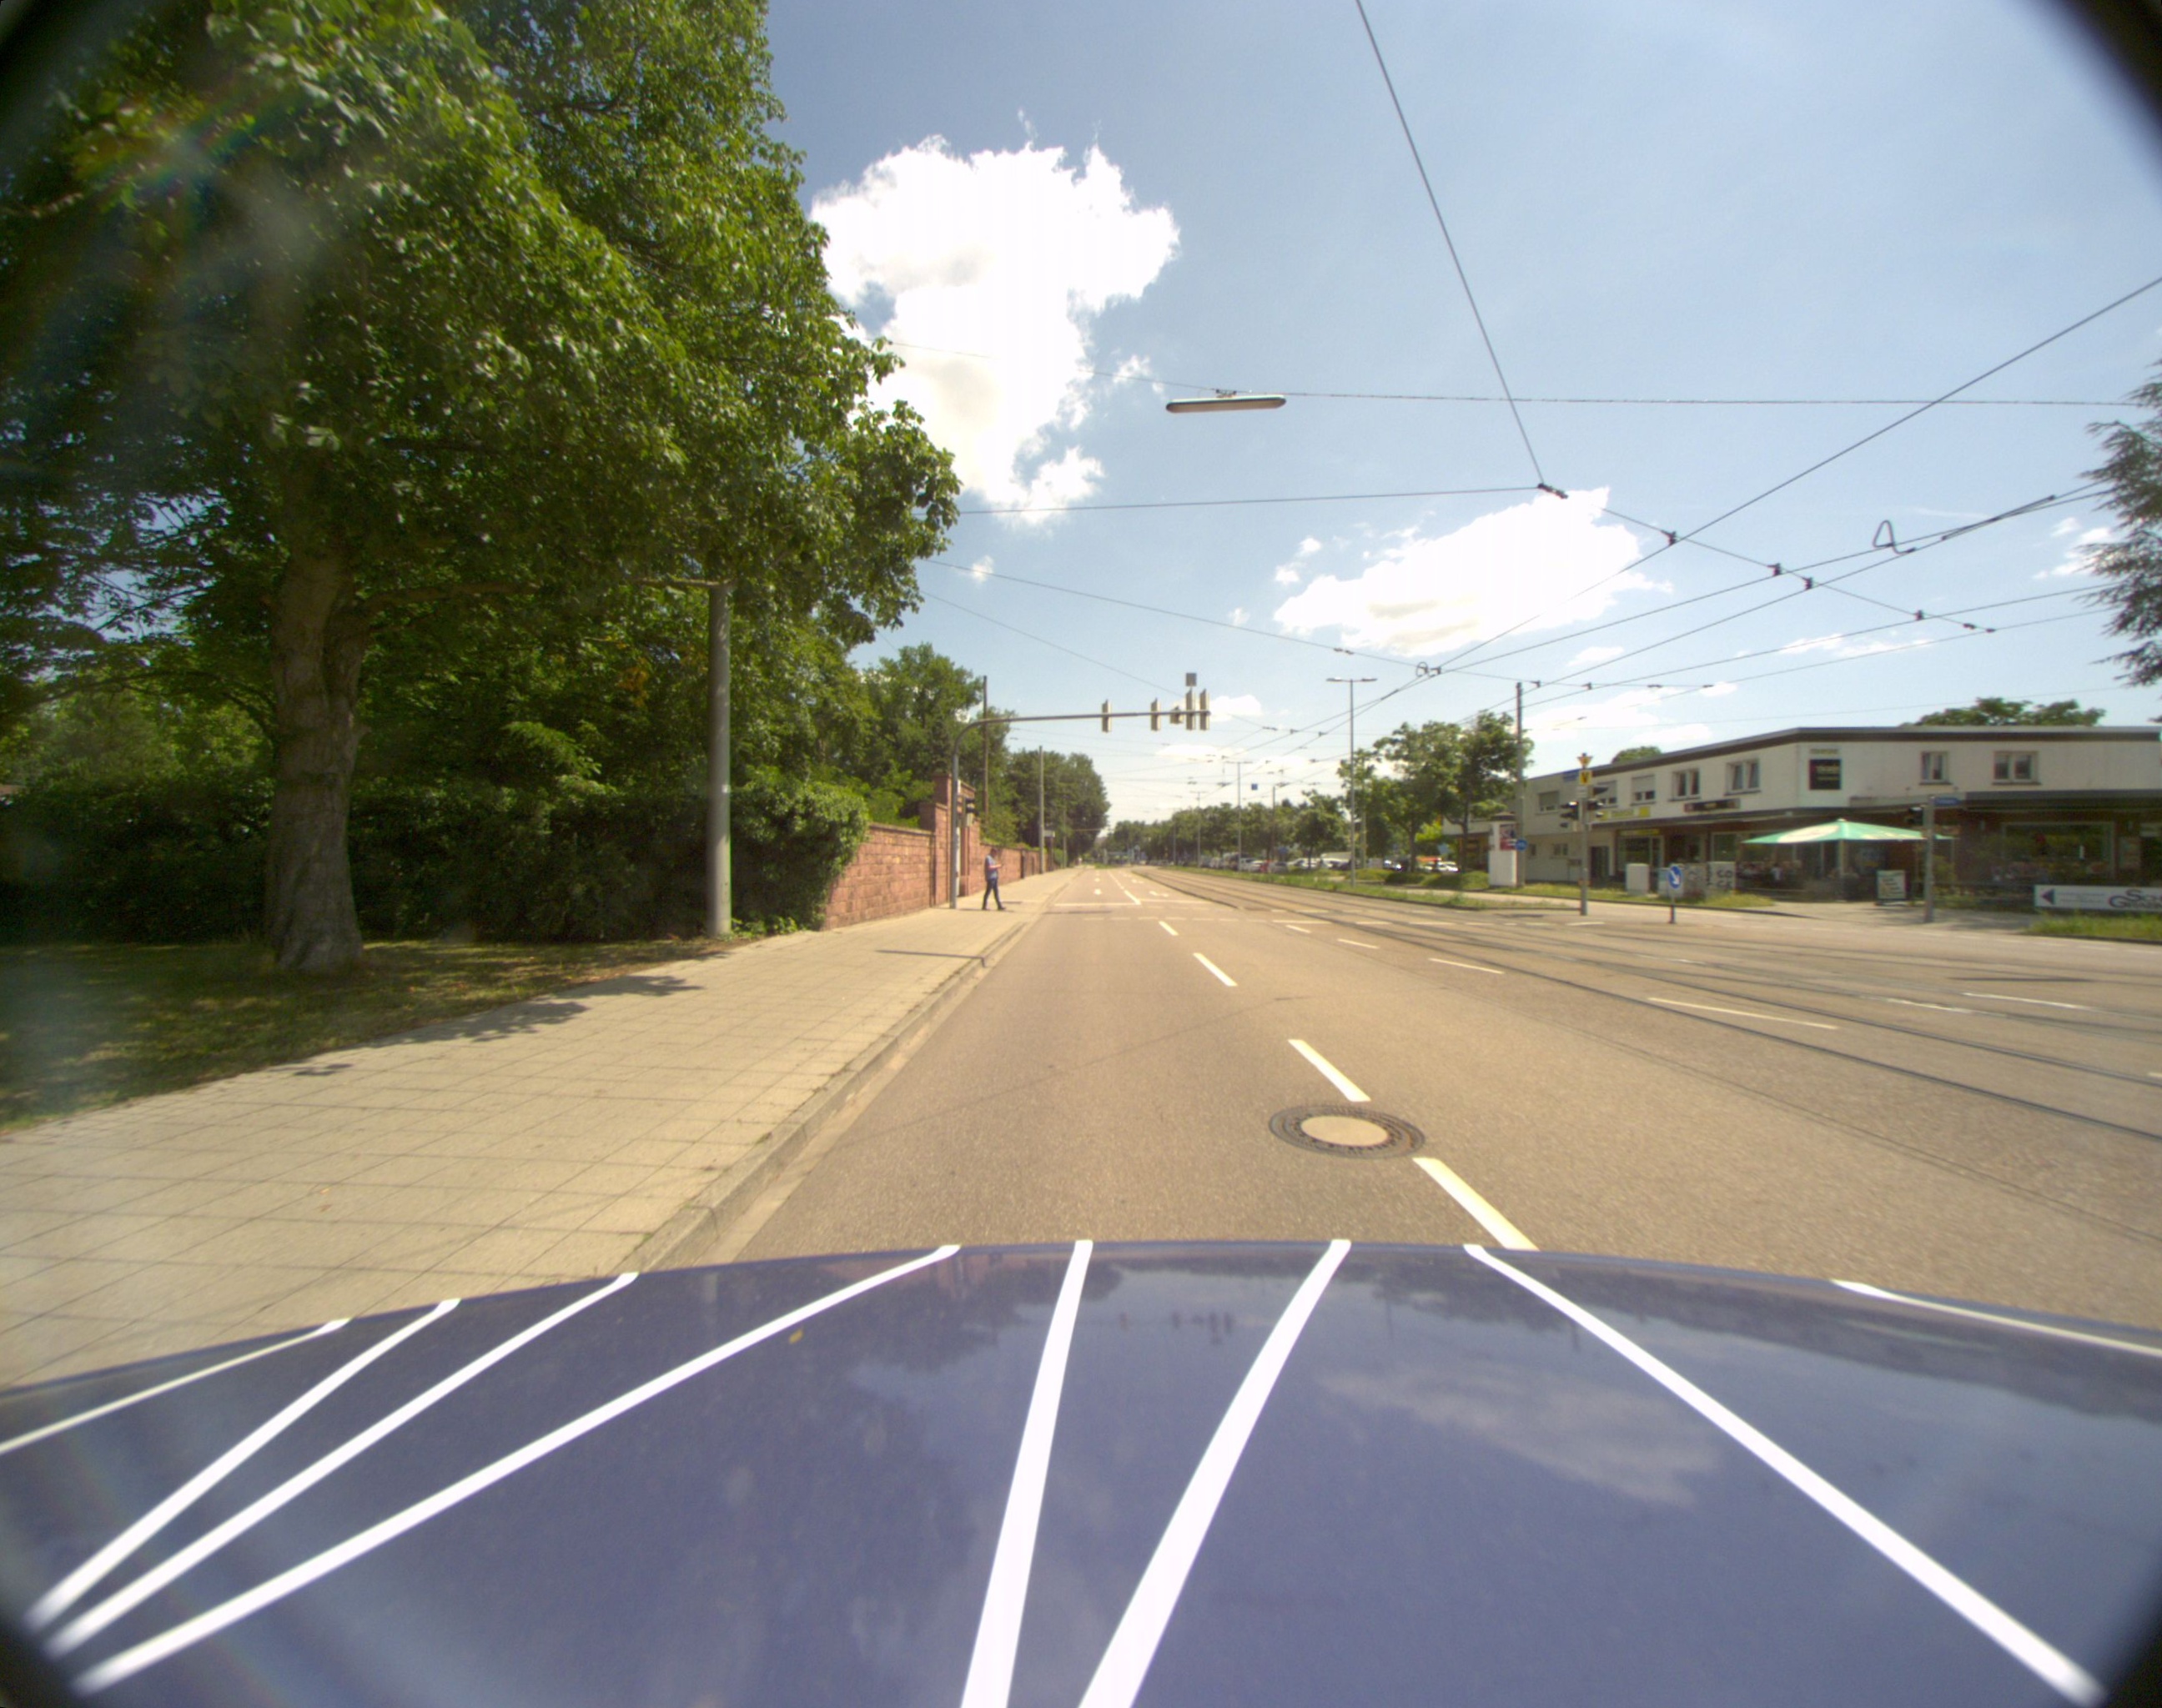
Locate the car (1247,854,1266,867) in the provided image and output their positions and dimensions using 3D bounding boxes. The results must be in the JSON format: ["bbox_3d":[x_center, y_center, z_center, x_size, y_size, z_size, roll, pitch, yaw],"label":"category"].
[{"bbox_3d":[22.026,0.847,95.457,1.502,1.531,4.359,-2,1,3],"label":"car"}]

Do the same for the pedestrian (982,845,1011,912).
[{"bbox_3d":[-2.350,0.669,21.152,0.767,1.841,0.717,1,0,-7],"label":"pedestrian"}]

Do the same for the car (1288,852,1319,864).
[{"bbox_3d":[33.508,0.594,114.504,4.199,1.726,1.803,2,1,2],"label":"car"}]

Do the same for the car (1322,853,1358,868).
[{"bbox_3d":[33.322,0.858,97.803,3.996,1.726,1.803,2,1,2],"label":"car"}]

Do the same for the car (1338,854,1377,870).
[{"bbox_3d":[32.564,0.898,89.578,3.996,1.726,1.803,2,1,2],"label":"car"}]

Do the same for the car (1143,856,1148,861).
[{"bbox_3d":[21.319,1.499,251.286,1.681,1.680,3.547,2,1,7],"label":"car"}]

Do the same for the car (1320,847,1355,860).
[{"bbox_3d":[47.989,-0.136,142.158,5.697,2.467,2.259,0,0,-1],"label":"car"}]

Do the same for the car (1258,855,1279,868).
[{"bbox_3d":[22.417,0.875,90.752,1.503,1.531,3.648,-2,1,-2],"label":"car"}]

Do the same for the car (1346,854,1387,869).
[{"bbox_3d":[32.818,0.880,87.430,3.996,1.726,1.879,0,0,2],"label":"car"}]

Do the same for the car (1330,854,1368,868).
[{"bbox_3d":[32.565,0.848,92.425,3.996,1.726,1.803,0,0,2],"label":"car"}]

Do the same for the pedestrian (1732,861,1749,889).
[{"bbox_3d":[30.179,0.962,34.788,0.319,1.260,0.502,1,0,2],"label":"pedestrian"}]

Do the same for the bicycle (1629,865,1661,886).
[{"bbox_3d":[28.673,1.081,38.664,0.399,1.035,1.802,1,0,3],"label":"bicycle"}]

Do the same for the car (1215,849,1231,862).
[{"bbox_3d":[23.377,0.244,124.903,1.794,1.927,4.649,-2,1,2],"label":"car"}]

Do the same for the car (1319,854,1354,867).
[{"bbox_3d":[33.691,0.842,100.377,3.996,1.726,1.903,0,0,2],"label":"car"}]

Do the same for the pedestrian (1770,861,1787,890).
[{"bbox_3d":[30.738,0.962,33.475,0.341,1.260,0.452,1,0,4],"label":"pedestrian"}]

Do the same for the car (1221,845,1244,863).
[{"bbox_3d":[23.152,0.028,116.192,2.156,2.596,6.704,-2,1,1],"label":"car"}]

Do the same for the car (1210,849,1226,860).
[{"bbox_3d":[23.731,0.039,131.595,1.795,1.927,4.488,-2,1,0],"label":"car"}]

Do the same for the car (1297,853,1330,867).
[{"bbox_3d":[32.441,0.817,105.939,3.996,1.726,1.803,2,1,2],"label":"car"}]

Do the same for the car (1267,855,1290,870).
[{"bbox_3d":[22.125,0.940,85.394,1.580,1.531,4.551,-2,1,3],"label":"car"}]

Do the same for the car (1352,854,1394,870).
[{"bbox_3d":[32.449,0.874,84.410,3.996,1.726,1.803,0,0,2],"label":"car"}]

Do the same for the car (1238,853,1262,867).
[{"bbox_3d":[22.624,0.790,101.884,2.155,1.827,4.888,-2,1,2],"label":"car"}]

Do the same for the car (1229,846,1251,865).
[{"bbox_3d":[22.617,0.198,108.001,2.155,2.596,5.033,-2,1,2],"label":"car"}]

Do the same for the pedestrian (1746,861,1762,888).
[{"bbox_3d":[30.999,0.943,35.000,0.387,1.239,0.401,1,0,2],"label":"pedestrian"}]

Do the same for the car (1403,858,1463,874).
[{"bbox_3d":[31.923,1.059,68.996,4.484,1.426,1.907,0,0,4],"label":"car"}]

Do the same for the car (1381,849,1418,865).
[{"bbox_3d":[47.179,0.440,112.666,4.652,2.212,1.851,2,1,-1],"label":"car"}]

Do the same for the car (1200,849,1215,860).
[{"bbox_3d":[23.853,0.116,143.592,2.071,2.089,4.488,-2,1,0],"label":"car"}]
